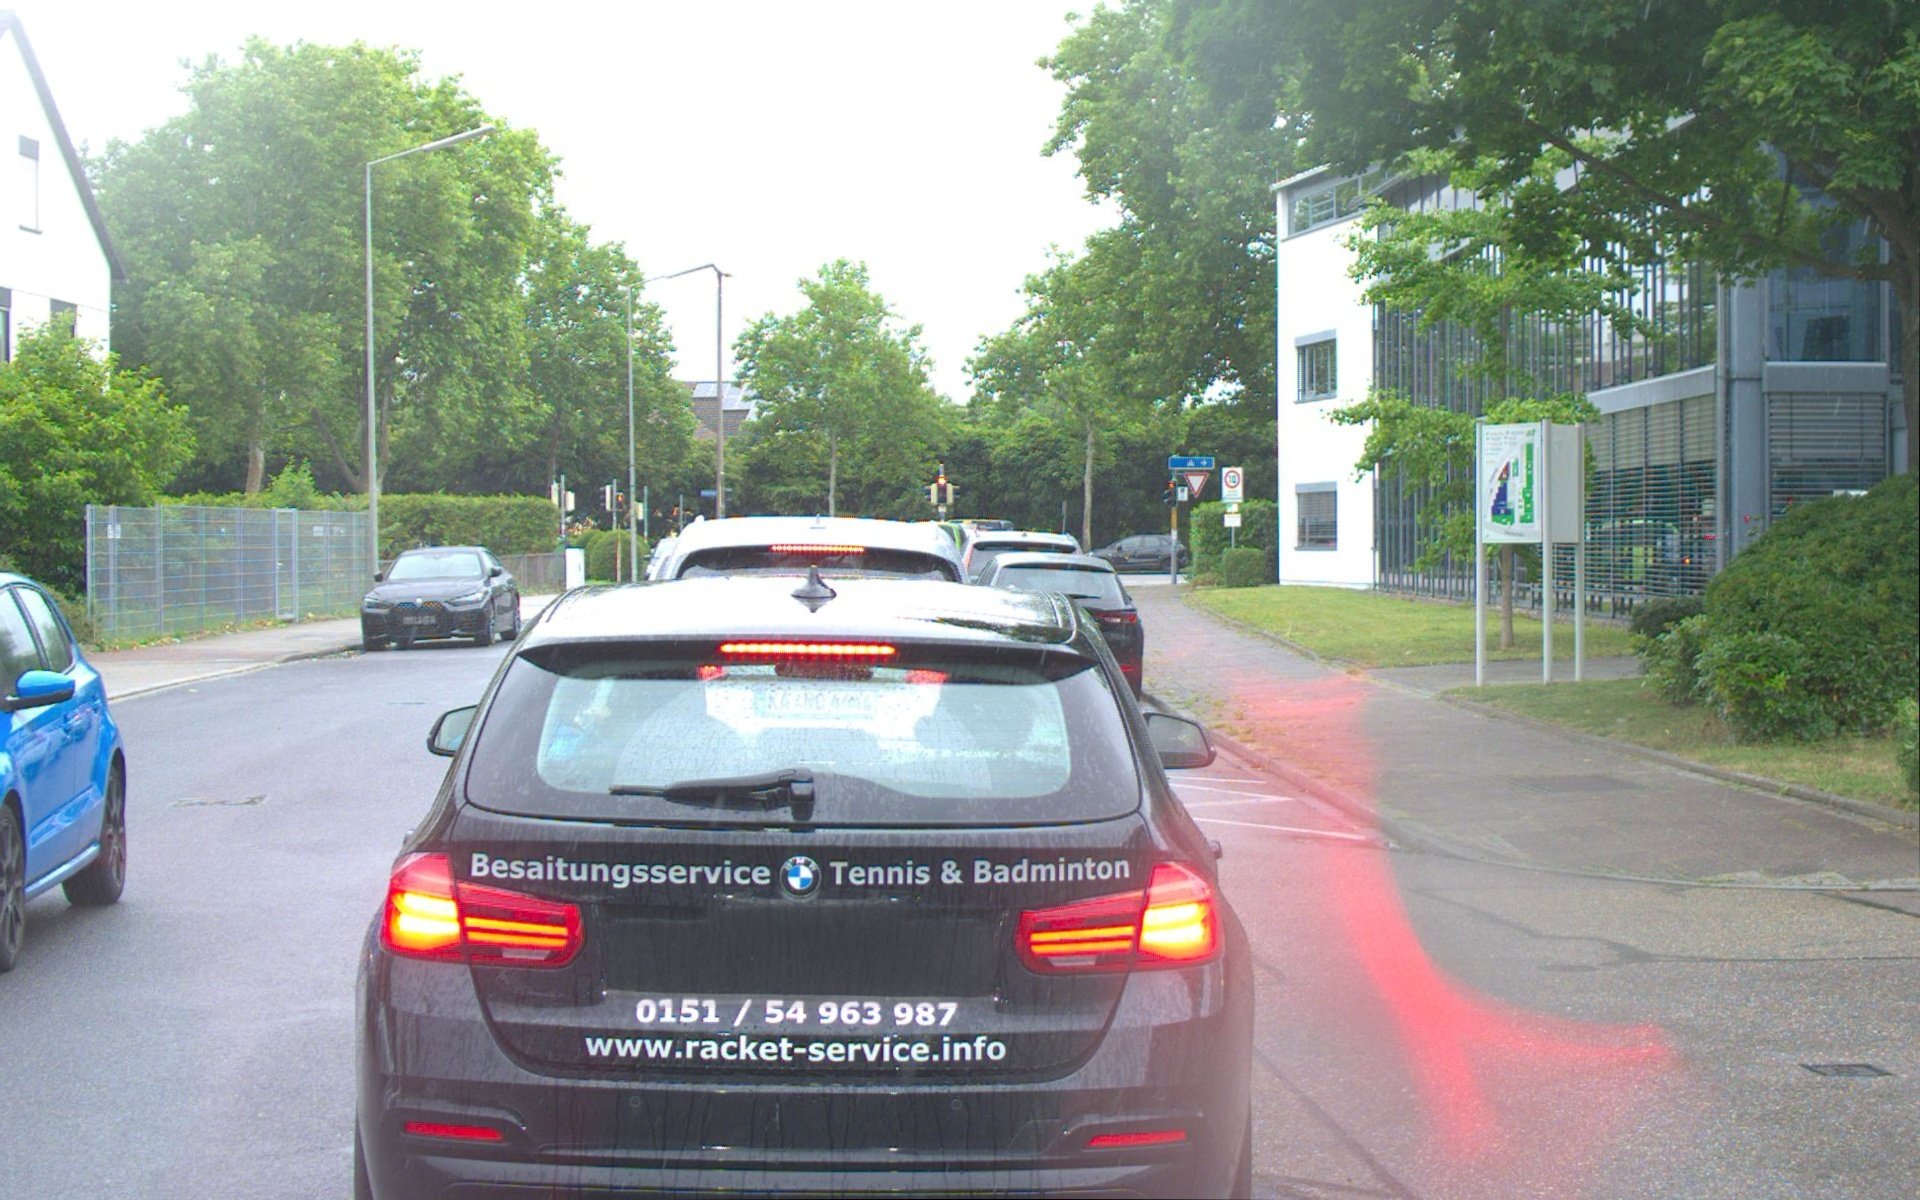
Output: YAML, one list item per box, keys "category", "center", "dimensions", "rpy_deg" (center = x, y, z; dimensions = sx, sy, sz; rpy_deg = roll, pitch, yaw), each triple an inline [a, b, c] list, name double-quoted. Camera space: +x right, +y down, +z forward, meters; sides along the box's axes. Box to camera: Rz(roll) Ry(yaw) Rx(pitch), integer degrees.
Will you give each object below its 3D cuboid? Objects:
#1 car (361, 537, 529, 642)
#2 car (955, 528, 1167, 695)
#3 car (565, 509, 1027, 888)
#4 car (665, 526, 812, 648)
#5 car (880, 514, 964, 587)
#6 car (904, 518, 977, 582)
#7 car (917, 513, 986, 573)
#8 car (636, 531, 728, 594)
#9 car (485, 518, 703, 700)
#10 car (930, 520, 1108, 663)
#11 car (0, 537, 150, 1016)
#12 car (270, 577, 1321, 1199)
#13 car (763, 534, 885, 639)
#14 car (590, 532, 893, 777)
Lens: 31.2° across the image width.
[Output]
- category: "car"
  center: [-7.483, -0.178, 50.292]
  dimensions: [1.705, 1.362, 3.838]
  rpy_deg: [-2, 2, 2]
- category: "car"
  center: [0.960, 0.090, 34.769]
  dimensions: [1.804, 1.581, 4.001]
  rpy_deg: [1, 1, -3]
- category: "car"
  center: [-0.909, 0.395, 16.426]
  dimensions: [1.804, 1.581, 4.001]
  rpy_deg: [0, 1, -8]
- category: "car"
  center: [-2.997, -0.190, 47.143]
  dimensions: [1.804, 1.581, 4.000]
  rpy_deg: [1, 1, -1]
- category: "car"
  center: [-0.843, -1.106, 75.743]
  dimensions: [1.804, 1.581, 4.000]
  rpy_deg: [0, 1, -1]
- category: "car"
  center: [-0.521, -1.283, 87.529]
  dimensions: [1.804, 1.581, 4.000]
  rpy_deg: [0, 1, -1]
- category: "car"
  center: [-0.255, -1.567, 93.746]
  dimensions: [1.804, 1.581, 4.000]
  rpy_deg: [0, 1, -1]
- category: "car"
  center: [-6.623, -0.917, 82.324]
  dimensions: [1.705, 1.362, 3.838]
  rpy_deg: [-2, 2, 2]
- category: "car"
  center: [-3.362, 0.057, 32.203]
  dimensions: [1.804, 1.581, 4.001]
  rpy_deg: [1, 1, -3]
- category: "car"
  center: [0.642, -0.118, 40.359]
  dimensions: [1.804, 1.581, 4.001]
  rpy_deg: [1, 1, -3]
- category: "car"
  center: [-4.249, 0.602, 13.041]
  dimensions: [1.705, 1.588, 3.839]
  rpy_deg: [-3, 2, -5]
- category: "car"
  center: [-0.403, 0.660, 7.932]
  dimensions: [1.804, 1.390, 4.001]
  rpy_deg: [0, 1, -4]
- category: "car"
  center: [-2.115, -0.229, 54.242]
  dimensions: [1.804, 1.581, 4.000]
  rpy_deg: [1, 1, -1]
- category: "car"
  center: [-1.627, 0.337, 24.295]
  dimensions: [1.804, 1.581, 4.001]
  rpy_deg: [0, 1, -8]
